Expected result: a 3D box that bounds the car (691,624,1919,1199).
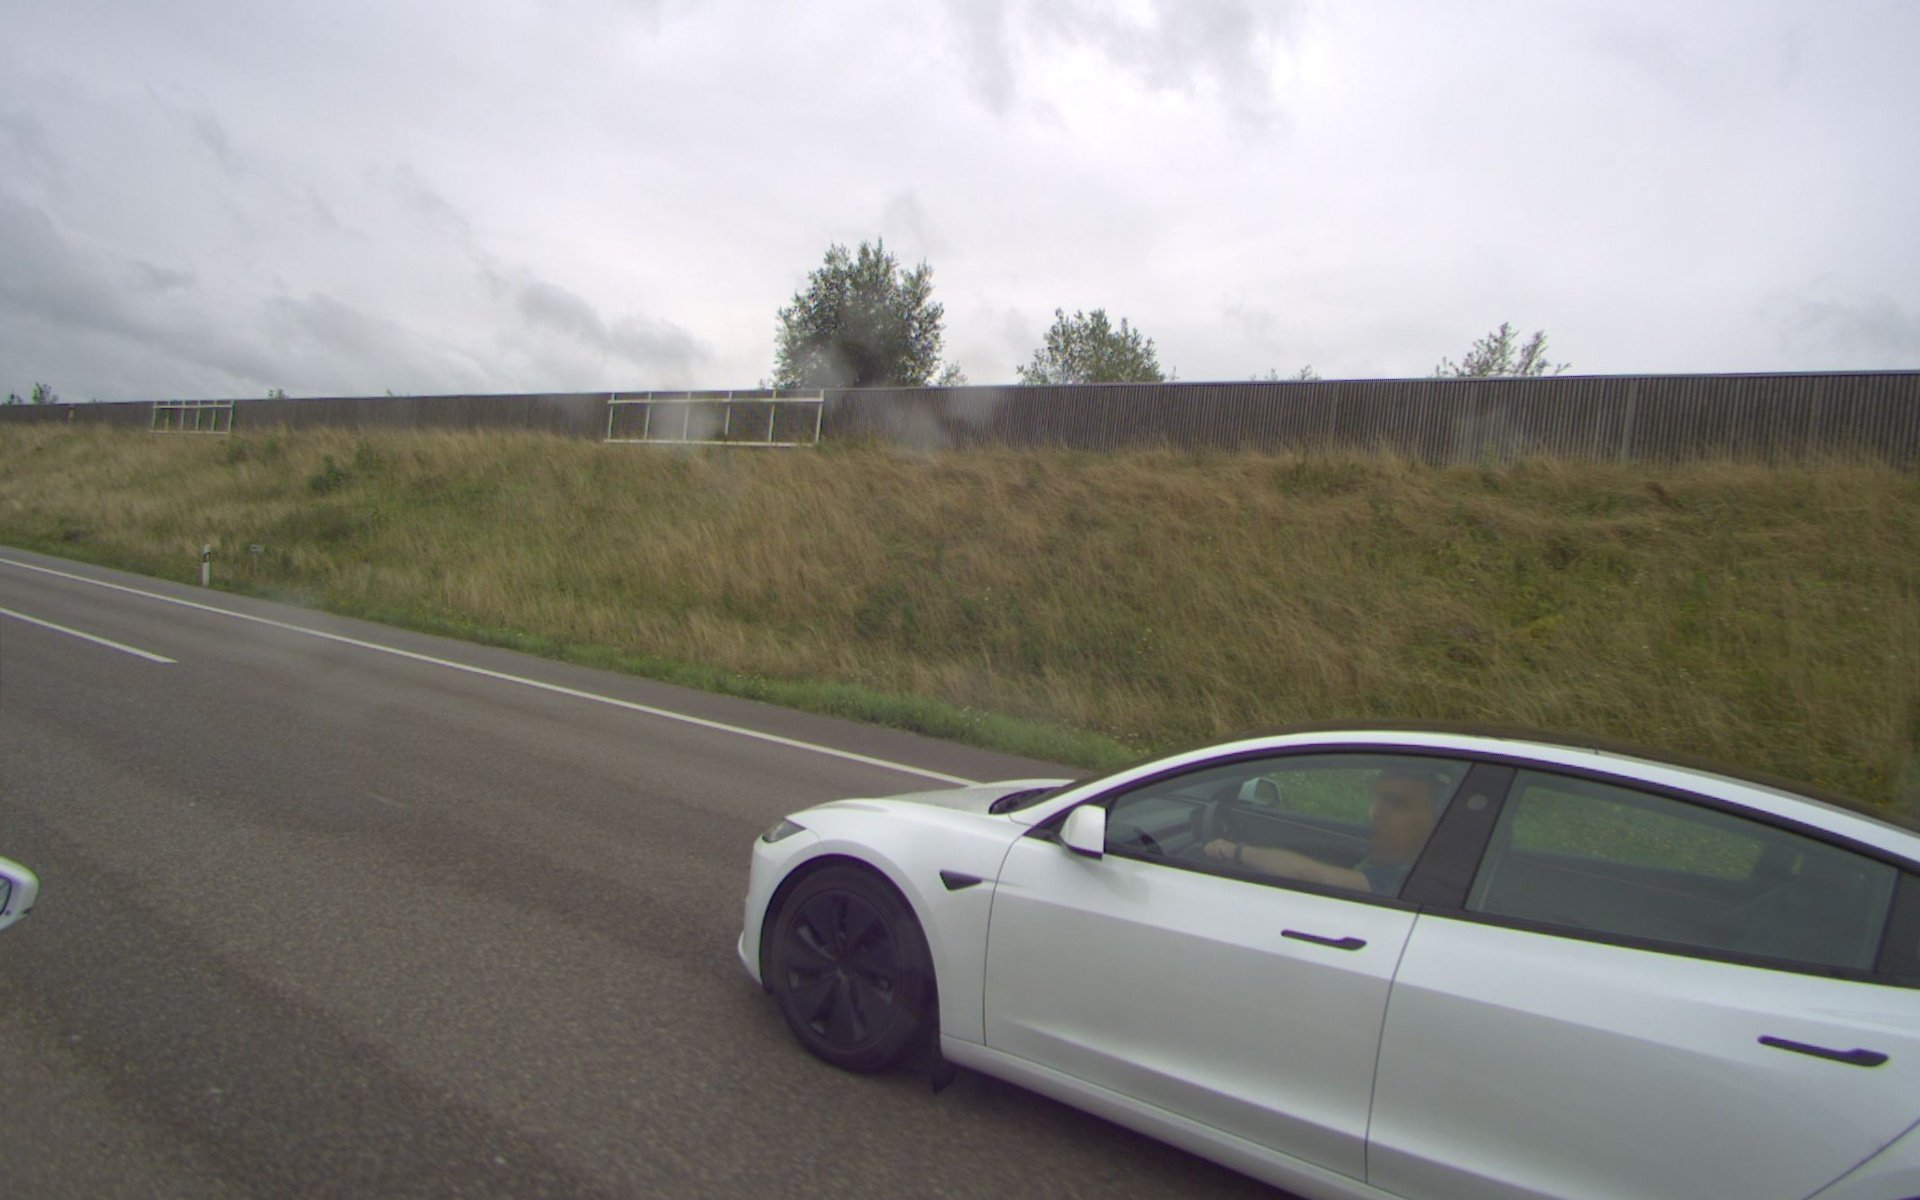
[{"bbox_3d":[1.579,1.078,3.157,4.734,1.379,1.877,6,-2,33],"label":"car"}]
